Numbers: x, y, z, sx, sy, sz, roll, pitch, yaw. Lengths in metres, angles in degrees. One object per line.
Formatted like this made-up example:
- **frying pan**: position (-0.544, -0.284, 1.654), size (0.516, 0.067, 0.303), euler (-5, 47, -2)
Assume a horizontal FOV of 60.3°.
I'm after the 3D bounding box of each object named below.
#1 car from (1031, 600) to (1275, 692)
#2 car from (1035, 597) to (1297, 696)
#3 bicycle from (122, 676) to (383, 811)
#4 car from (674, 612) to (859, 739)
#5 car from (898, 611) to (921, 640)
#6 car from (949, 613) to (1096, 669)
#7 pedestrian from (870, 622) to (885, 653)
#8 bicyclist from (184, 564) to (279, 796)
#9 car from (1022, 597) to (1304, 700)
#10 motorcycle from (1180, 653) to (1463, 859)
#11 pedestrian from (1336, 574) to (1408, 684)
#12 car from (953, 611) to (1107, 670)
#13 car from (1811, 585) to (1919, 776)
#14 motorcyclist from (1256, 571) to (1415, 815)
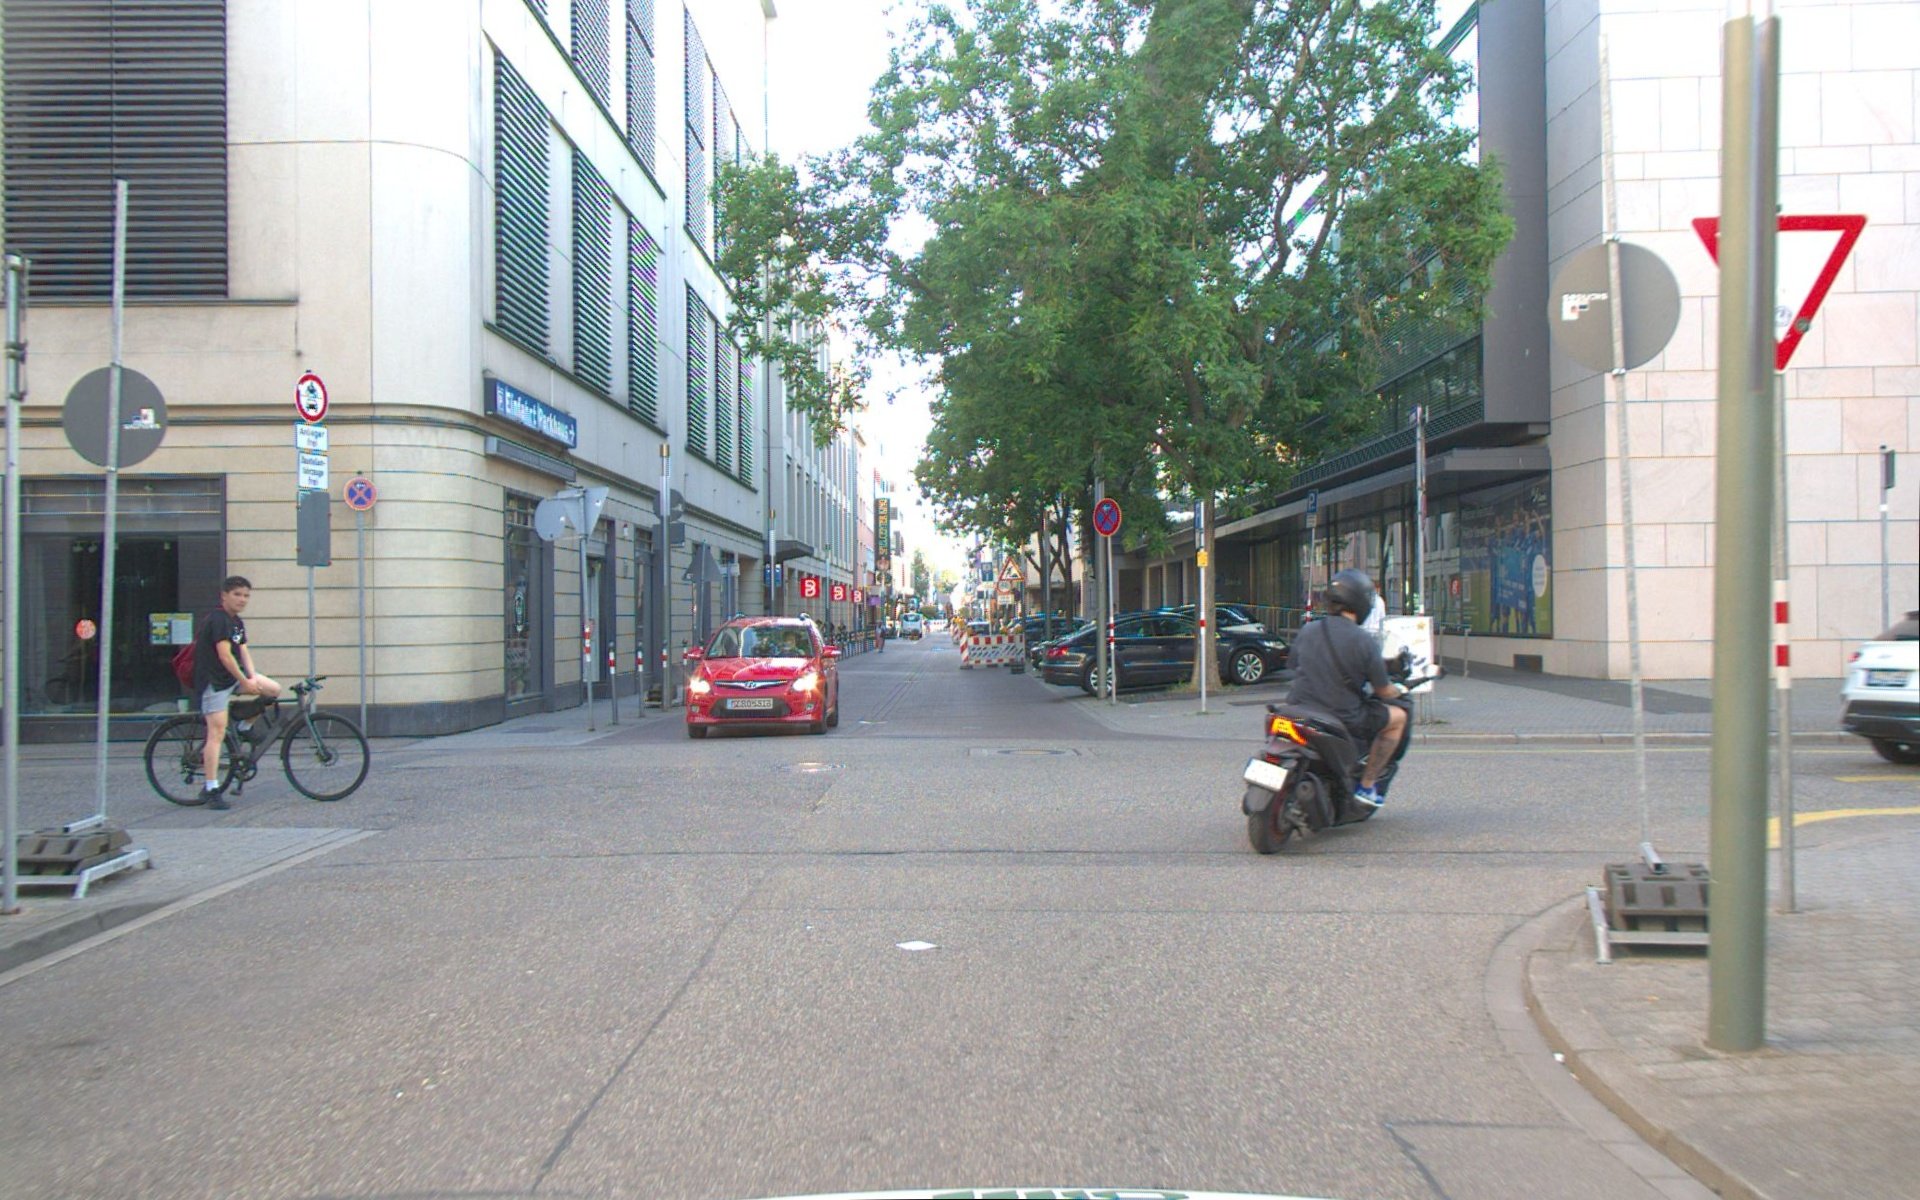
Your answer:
- **car**: position (4.110, 0.985, 35.724), size (4.905, 1.525, 1.999), euler (-5, -1, -3)
- **car**: position (4.087, 0.929, 33.416), size (4.905, 1.525, 1.999), euler (-5, -1, -3)
- **bicycle**: position (-5.478, 1.102, 12.887), size (1.781, 0.991, 0.510), euler (0, -1, -9)
- **car**: position (-2.441, 0.983, 21.857), size (1.784, 1.491, 4.264), euler (-1, -2, 2)
- **car**: position (-4.391, 2.195, 143.355), size (1.953, 2.370, 5.018), euler (1, -1, -2)
- **car**: position (2.139, 1.415, 57.700), size (4.905, 1.525, 1.999), euler (-5, -1, -3)
- **pedestrian**: position (-4.263, 1.957, 85.779), size (0.717, 1.602, 0.636), euler (0, -1, 0)
- **bicyclist**: position (-5.663, 0.615, 12.872), size (0.540, 1.762, 0.500), euler (0, -2, -8)
- **car**: position (3.715, 0.896, 30.914), size (4.905, 1.477, 1.999), euler (-5, -1, -3)
- **motorcycle**: position (2.262, 0.901, 10.216), size (1.826, 1.129, 0.861), euler (1, -2, -45)
- **pedestrian**: position (6.767, 0.478, 27.221), size (0.887, 1.735, 0.834), euler (-4, -2, 1)
- **car**: position (2.307, 1.340, 55.234), size (4.905, 1.525, 1.999), euler (-5, -1, -3)
- **car**: position (9.902, 0.634, 14.339), size (4.167, 1.568, 1.826), euler (-1, 0, -6)
- **motorcyclist**: position (2.334, 0.562, 10.308), size (0.452, 1.452, 0.856), euler (1, -2, -44)
